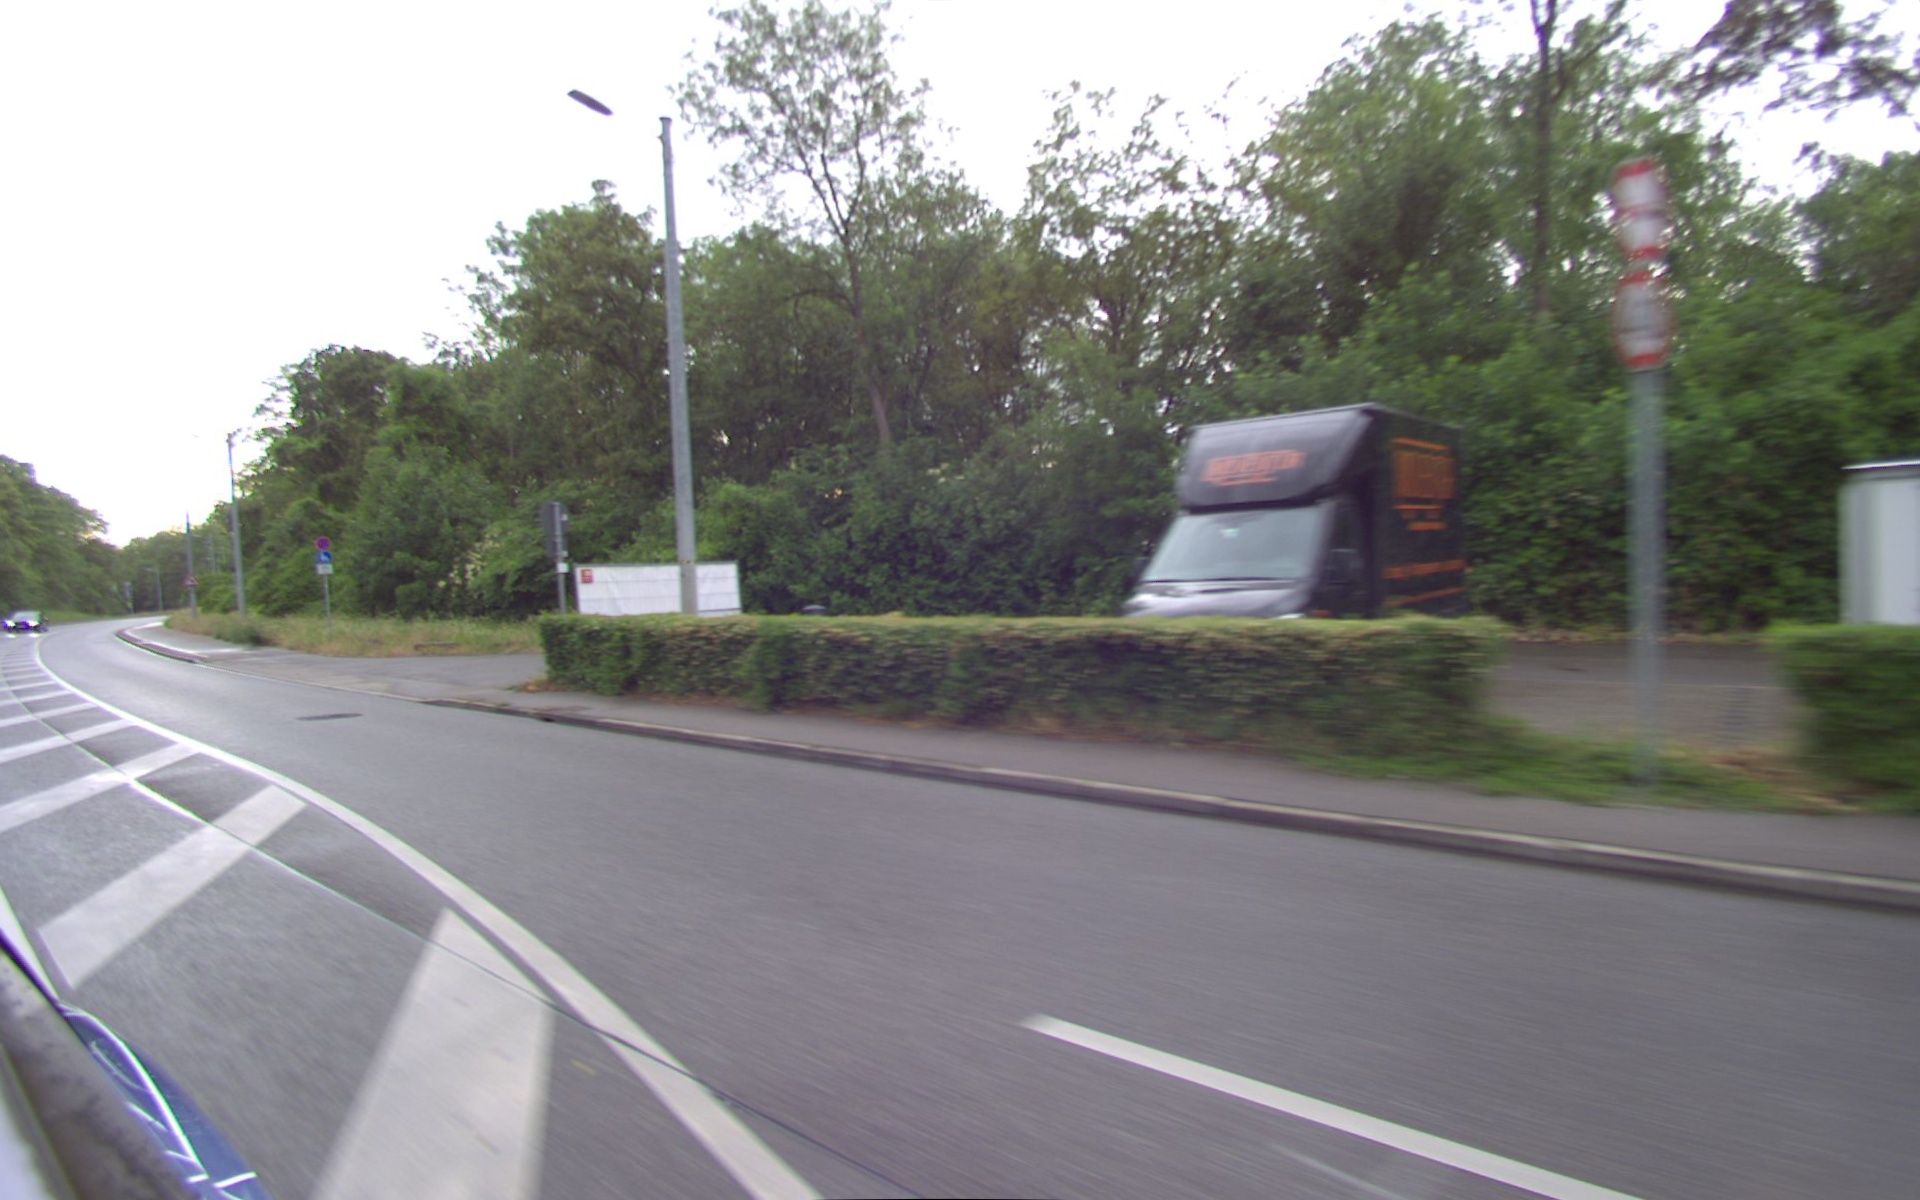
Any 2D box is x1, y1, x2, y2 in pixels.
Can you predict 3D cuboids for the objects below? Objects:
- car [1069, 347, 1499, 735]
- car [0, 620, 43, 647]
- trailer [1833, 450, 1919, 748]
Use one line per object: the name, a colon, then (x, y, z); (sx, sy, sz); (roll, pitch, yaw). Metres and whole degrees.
car: (4.047, -0.567, 11.521); (2.747, 3.136, 6.214); (0, 2, 37)
car: (-65.046, 2.294, 70.200); (1.969, 1.696, 4.006); (-1, 0, -40)
trailer: (8.338, -0.060, 8.163); (1.872, 2.068, 3.947); (-1, 0, 40)
